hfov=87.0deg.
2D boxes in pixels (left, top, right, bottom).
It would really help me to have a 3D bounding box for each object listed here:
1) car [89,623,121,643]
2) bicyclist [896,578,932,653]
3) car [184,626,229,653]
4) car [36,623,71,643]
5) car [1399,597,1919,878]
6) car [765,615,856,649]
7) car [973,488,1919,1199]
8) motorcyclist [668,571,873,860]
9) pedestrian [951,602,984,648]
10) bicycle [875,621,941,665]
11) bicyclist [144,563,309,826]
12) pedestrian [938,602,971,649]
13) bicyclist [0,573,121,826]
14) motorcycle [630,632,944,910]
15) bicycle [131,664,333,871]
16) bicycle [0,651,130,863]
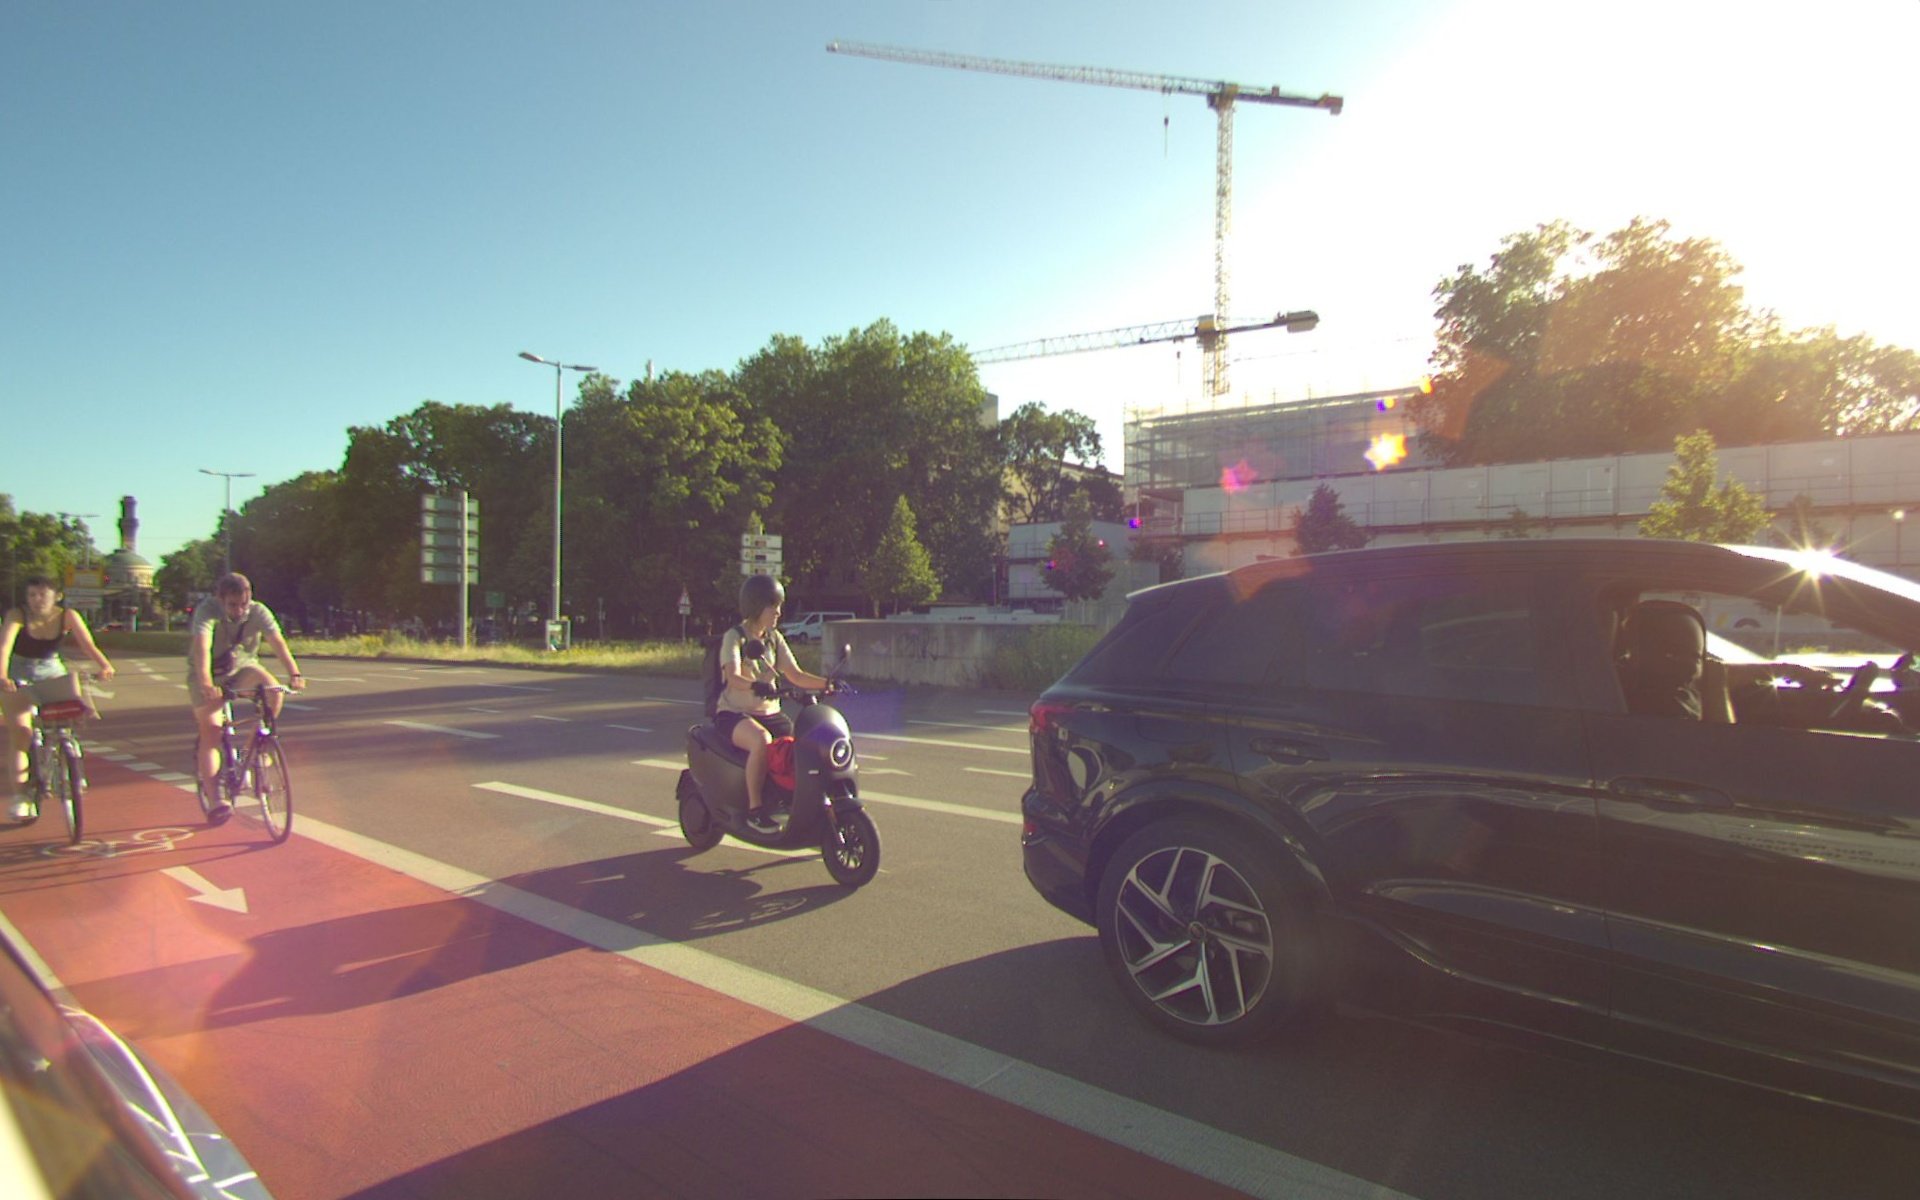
[{"bbox_3d":[-79.872,3.039,94.542,3.945,1.802,1.725,-1,0,41],"label":"car"},{"bbox_3d":[-1.979,0.657,43.448,1.305,3.126,0.831,-1,0,39],"label":"bicyclist"},{"bbox_3d":[-54.398,2.802,73.010,3.998,1.841,1.796,-1,0,41],"label":"car"},{"bbox_3d":[-80.105,2.885,89.399,3.998,1.699,1.826,-1,0,41],"label":"car"},{"bbox_3d":[4.970,0.757,6.553,3.603,1.497,1.477,-2,-1,41],"label":"car"},{"bbox_3d":[-9.064,1.925,61.853,2.065,1.950,5.443,-1,-2,42],"label":"car"},{"bbox_3d":[2.412,0.580,3.034,4.677,1.647,1.753,-1,0,40],"label":"car"},{"bbox_3d":[-1.083,0.599,5.778,0.917,1.485,0.717,-2,-1,41],"label":"motorcyclist"},{"bbox_3d":[0.331,1.128,45.838,1.135,2.029,0.930,-1,0,35],"label":"pedestrian"},{"bbox_3d":[-2.269,1.867,43.684,3.079,1.824,0.831,-3,-1,40],"label":"bicycle"},{"bbox_3d":[-4.909,0.586,6.773,0.841,1.618,0.709,-1,-1,40],"label":"bicyclist"},{"bbox_3d":[-0.235,1.121,44.945,1.135,2.029,0.930,-1,0,35],"label":"pedestrian"},{"bbox_3d":[-6.183,0.629,6.842,0.875,1.591,0.635,-2,-1,40],"label":"bicyclist"},{"bbox_3d":[-1.037,0.846,5.738,1.883,1.303,0.715,-2,-1,41],"label":"motorcycle"},{"bbox_3d":[-4.901,1.027,6.757,1.969,1.118,0.640,-2,-1,41],"label":"bicycle"},{"bbox_3d":[-6.289,0.988,6.936,1.830,1.227,0.609,-2,-1,41],"label":"bicycle"}]
